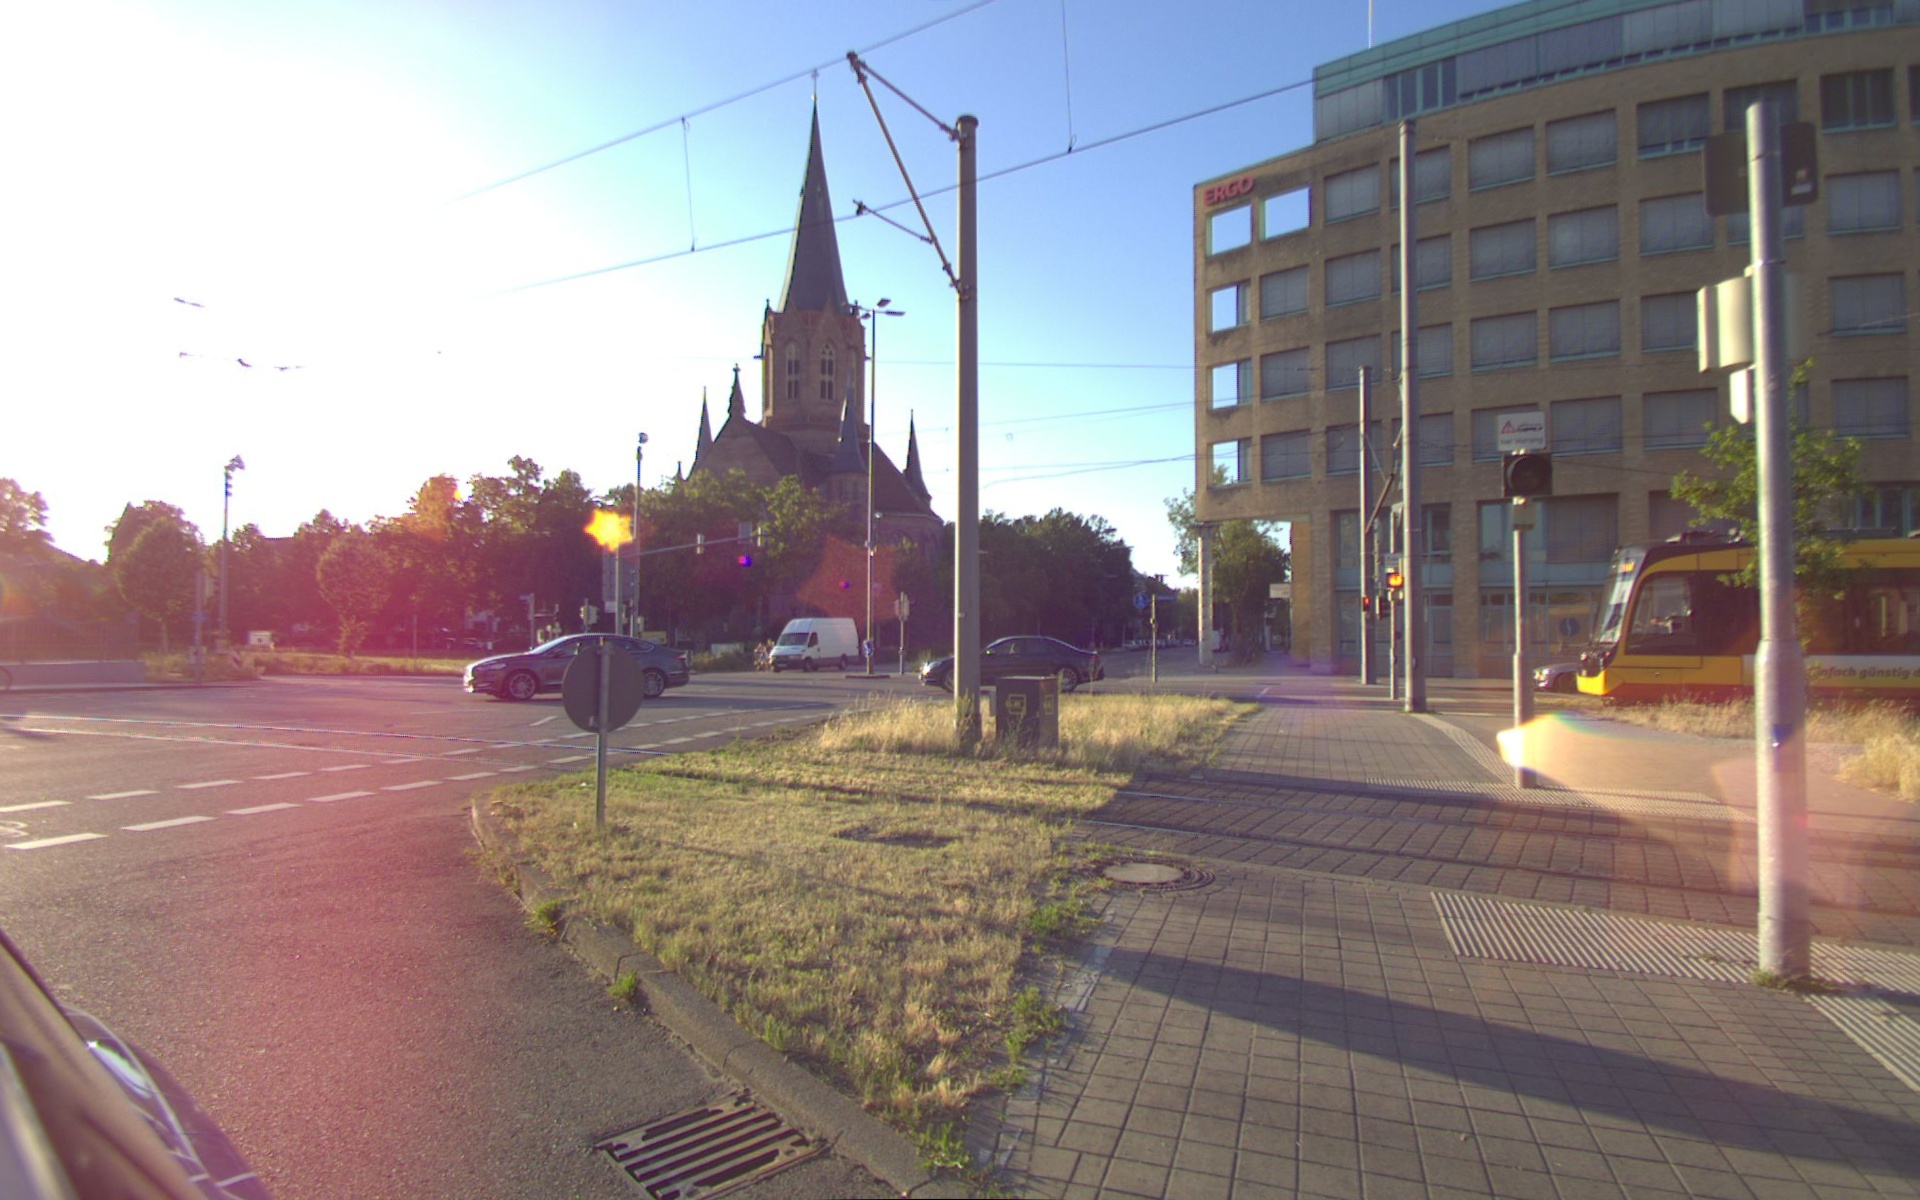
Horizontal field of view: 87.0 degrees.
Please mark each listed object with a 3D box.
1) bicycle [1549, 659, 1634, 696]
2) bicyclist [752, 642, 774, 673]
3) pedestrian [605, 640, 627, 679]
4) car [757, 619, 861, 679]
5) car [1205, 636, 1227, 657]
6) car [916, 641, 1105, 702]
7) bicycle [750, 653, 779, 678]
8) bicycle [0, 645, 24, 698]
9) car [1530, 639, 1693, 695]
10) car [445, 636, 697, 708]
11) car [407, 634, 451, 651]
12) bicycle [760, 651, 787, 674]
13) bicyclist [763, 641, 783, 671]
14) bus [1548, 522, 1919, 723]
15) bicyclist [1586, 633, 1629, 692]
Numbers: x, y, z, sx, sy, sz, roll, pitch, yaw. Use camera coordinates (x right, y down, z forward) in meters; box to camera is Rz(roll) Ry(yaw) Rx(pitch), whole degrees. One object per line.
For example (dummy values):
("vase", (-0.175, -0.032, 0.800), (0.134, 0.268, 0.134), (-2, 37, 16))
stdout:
("bicycle", (18.582, 2.285, 29.810), (2.051, 1.075, 0.436), (-2, -2, 19))
("bicyclist", (-10.242, 2.975, 52.655), (0.818, 1.580, 0.728), (-2, -2, 24))
("pedestrian", (-15.440, 2.668, 45.464), (0.653, 1.694, 0.657), (-1, -2, 22))
("car", (-7.767, 2.537, 53.014), (2.291, 2.900, 7.154), (-2, -3, 20))
("car", (30.747, 5.564, 121.510), (2.088, 2.441, 4.338), (-2, -2, 19))
("car", (1.320, 1.921, 27.662), (4.951, 1.519, 1.726), (0, -1, -4))
("bicycle", (-10.191, 3.405, 52.739), (0.487, 1.191, 1.956), (-2, -2, 23))
("bicycle", (-22.394, 1.623, 22.741), (0.487, 1.191, 1.956), (-2, -3, 23))
("car", (20.402, 2.057, 31.902), (3.973, 1.567, 1.985), (0, -1, 23))
("car", (-8.657, 1.592, 22.742), (4.958, 1.447, 1.884), (3, -3, -35))
("car", (-61.215, 4.915, 116.722), (4.066, 1.836, 2.003), (-1, -2, -8))
("bicycle", (-10.112, 3.388, 54.915), (0.487, 1.191, 1.956), (-2, -2, 23))
("bicyclist", (-10.145, 3.034, 54.840), (0.818, 1.580, 0.728), (-2, -2, 24))
("bus", (18.359, 0.389, 18.954), (12.034, 3.482, 3.738), (-2, -2, 19))
("bicyclist", (18.982, 1.825, 29.691), (0.787, 1.674, 0.832), (-2, -2, 17))
